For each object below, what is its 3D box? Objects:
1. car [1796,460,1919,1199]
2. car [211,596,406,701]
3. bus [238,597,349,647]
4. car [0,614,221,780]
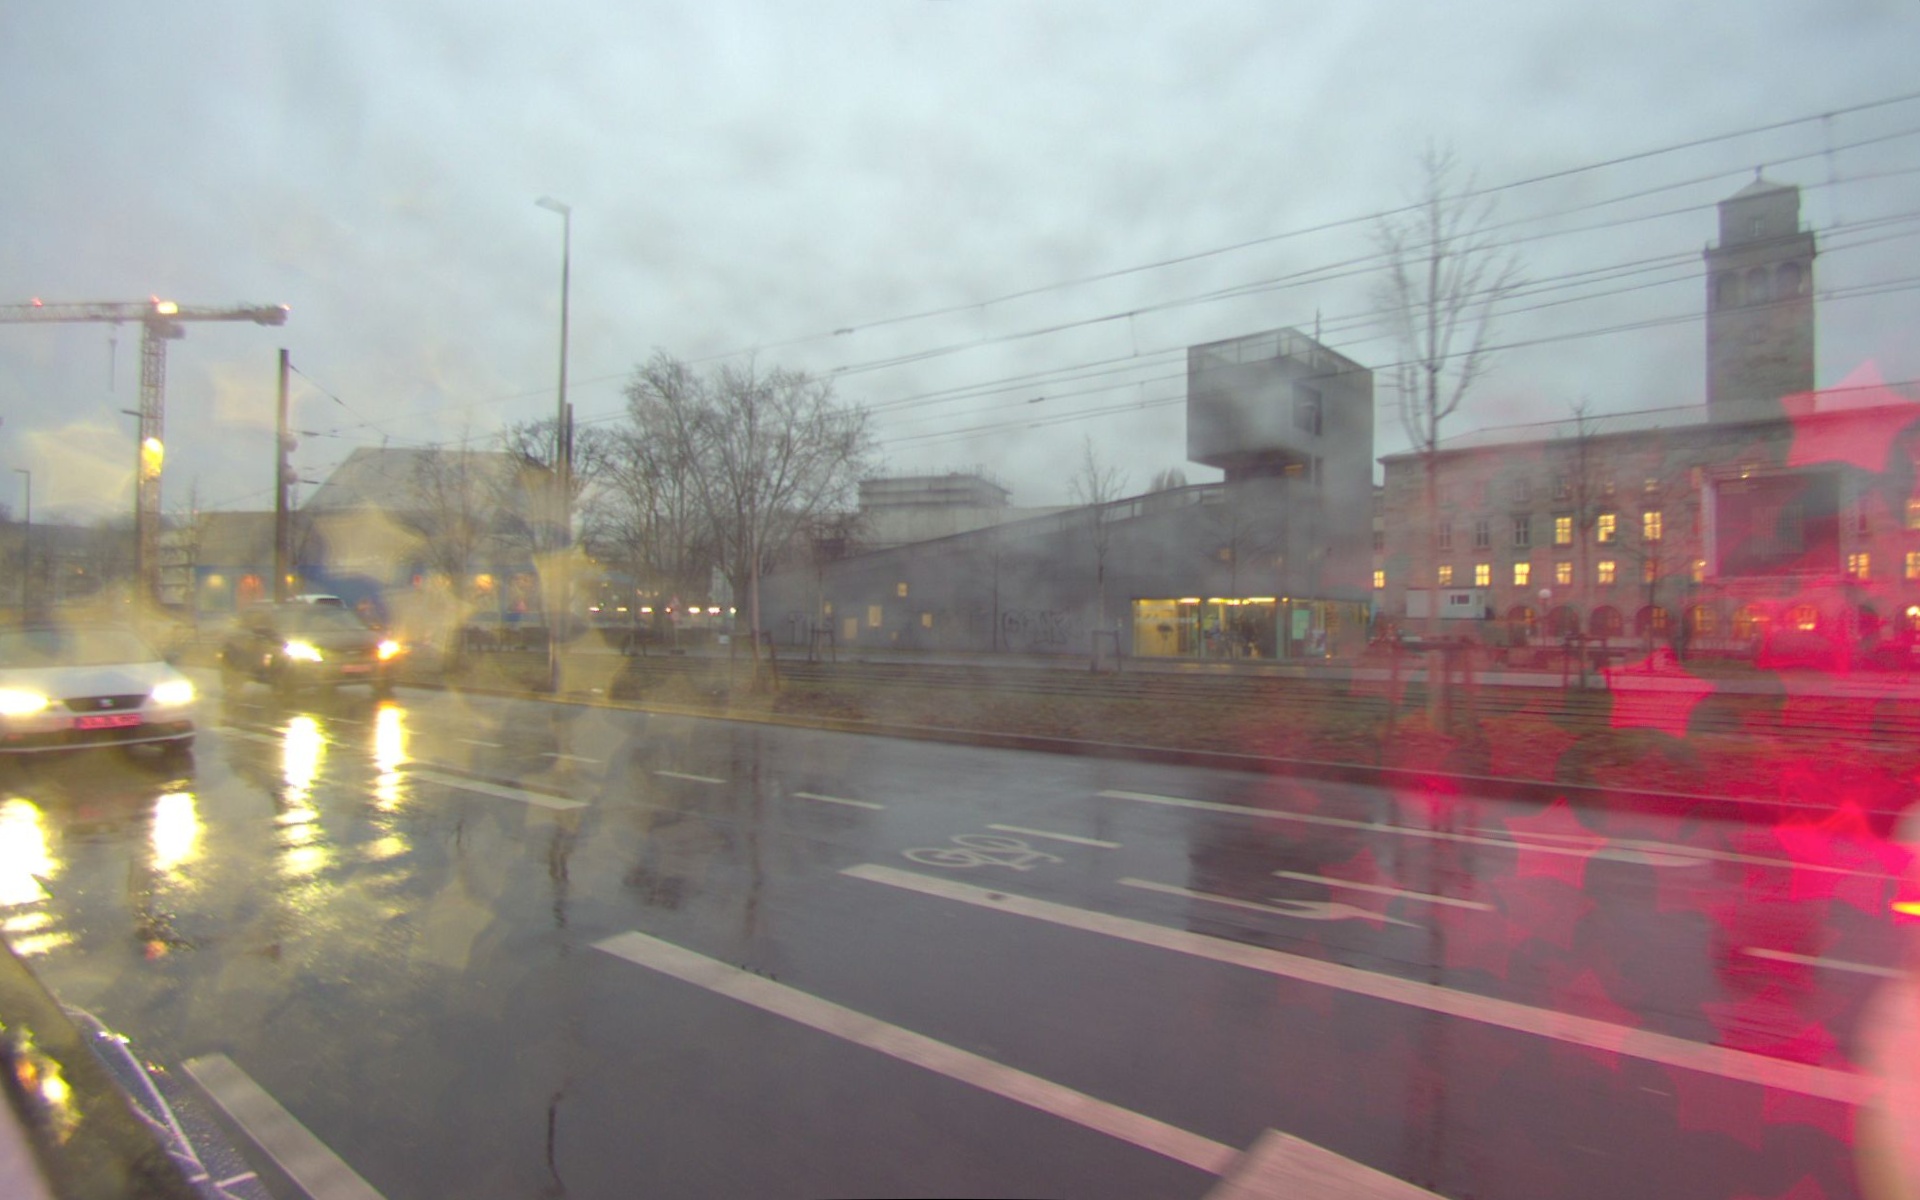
[{"bbox_3d":[3.510,0.590,0.365,4.920,1.532,1.890,-1,-2,40],"label":"car"},{"bbox_3d":[-12.393,0.865,19.130,4.606,1.756,1.686,-1,-2,38],"label":"car"},{"bbox_3d":[-51.314,1.703,77.774,12.278,3.605,2.782,-1,-2,35],"label":"bus"},{"bbox_3d":[-9.731,0.911,10.969,4.124,1.486,1.756,-1,-2,39],"label":"car"}]
